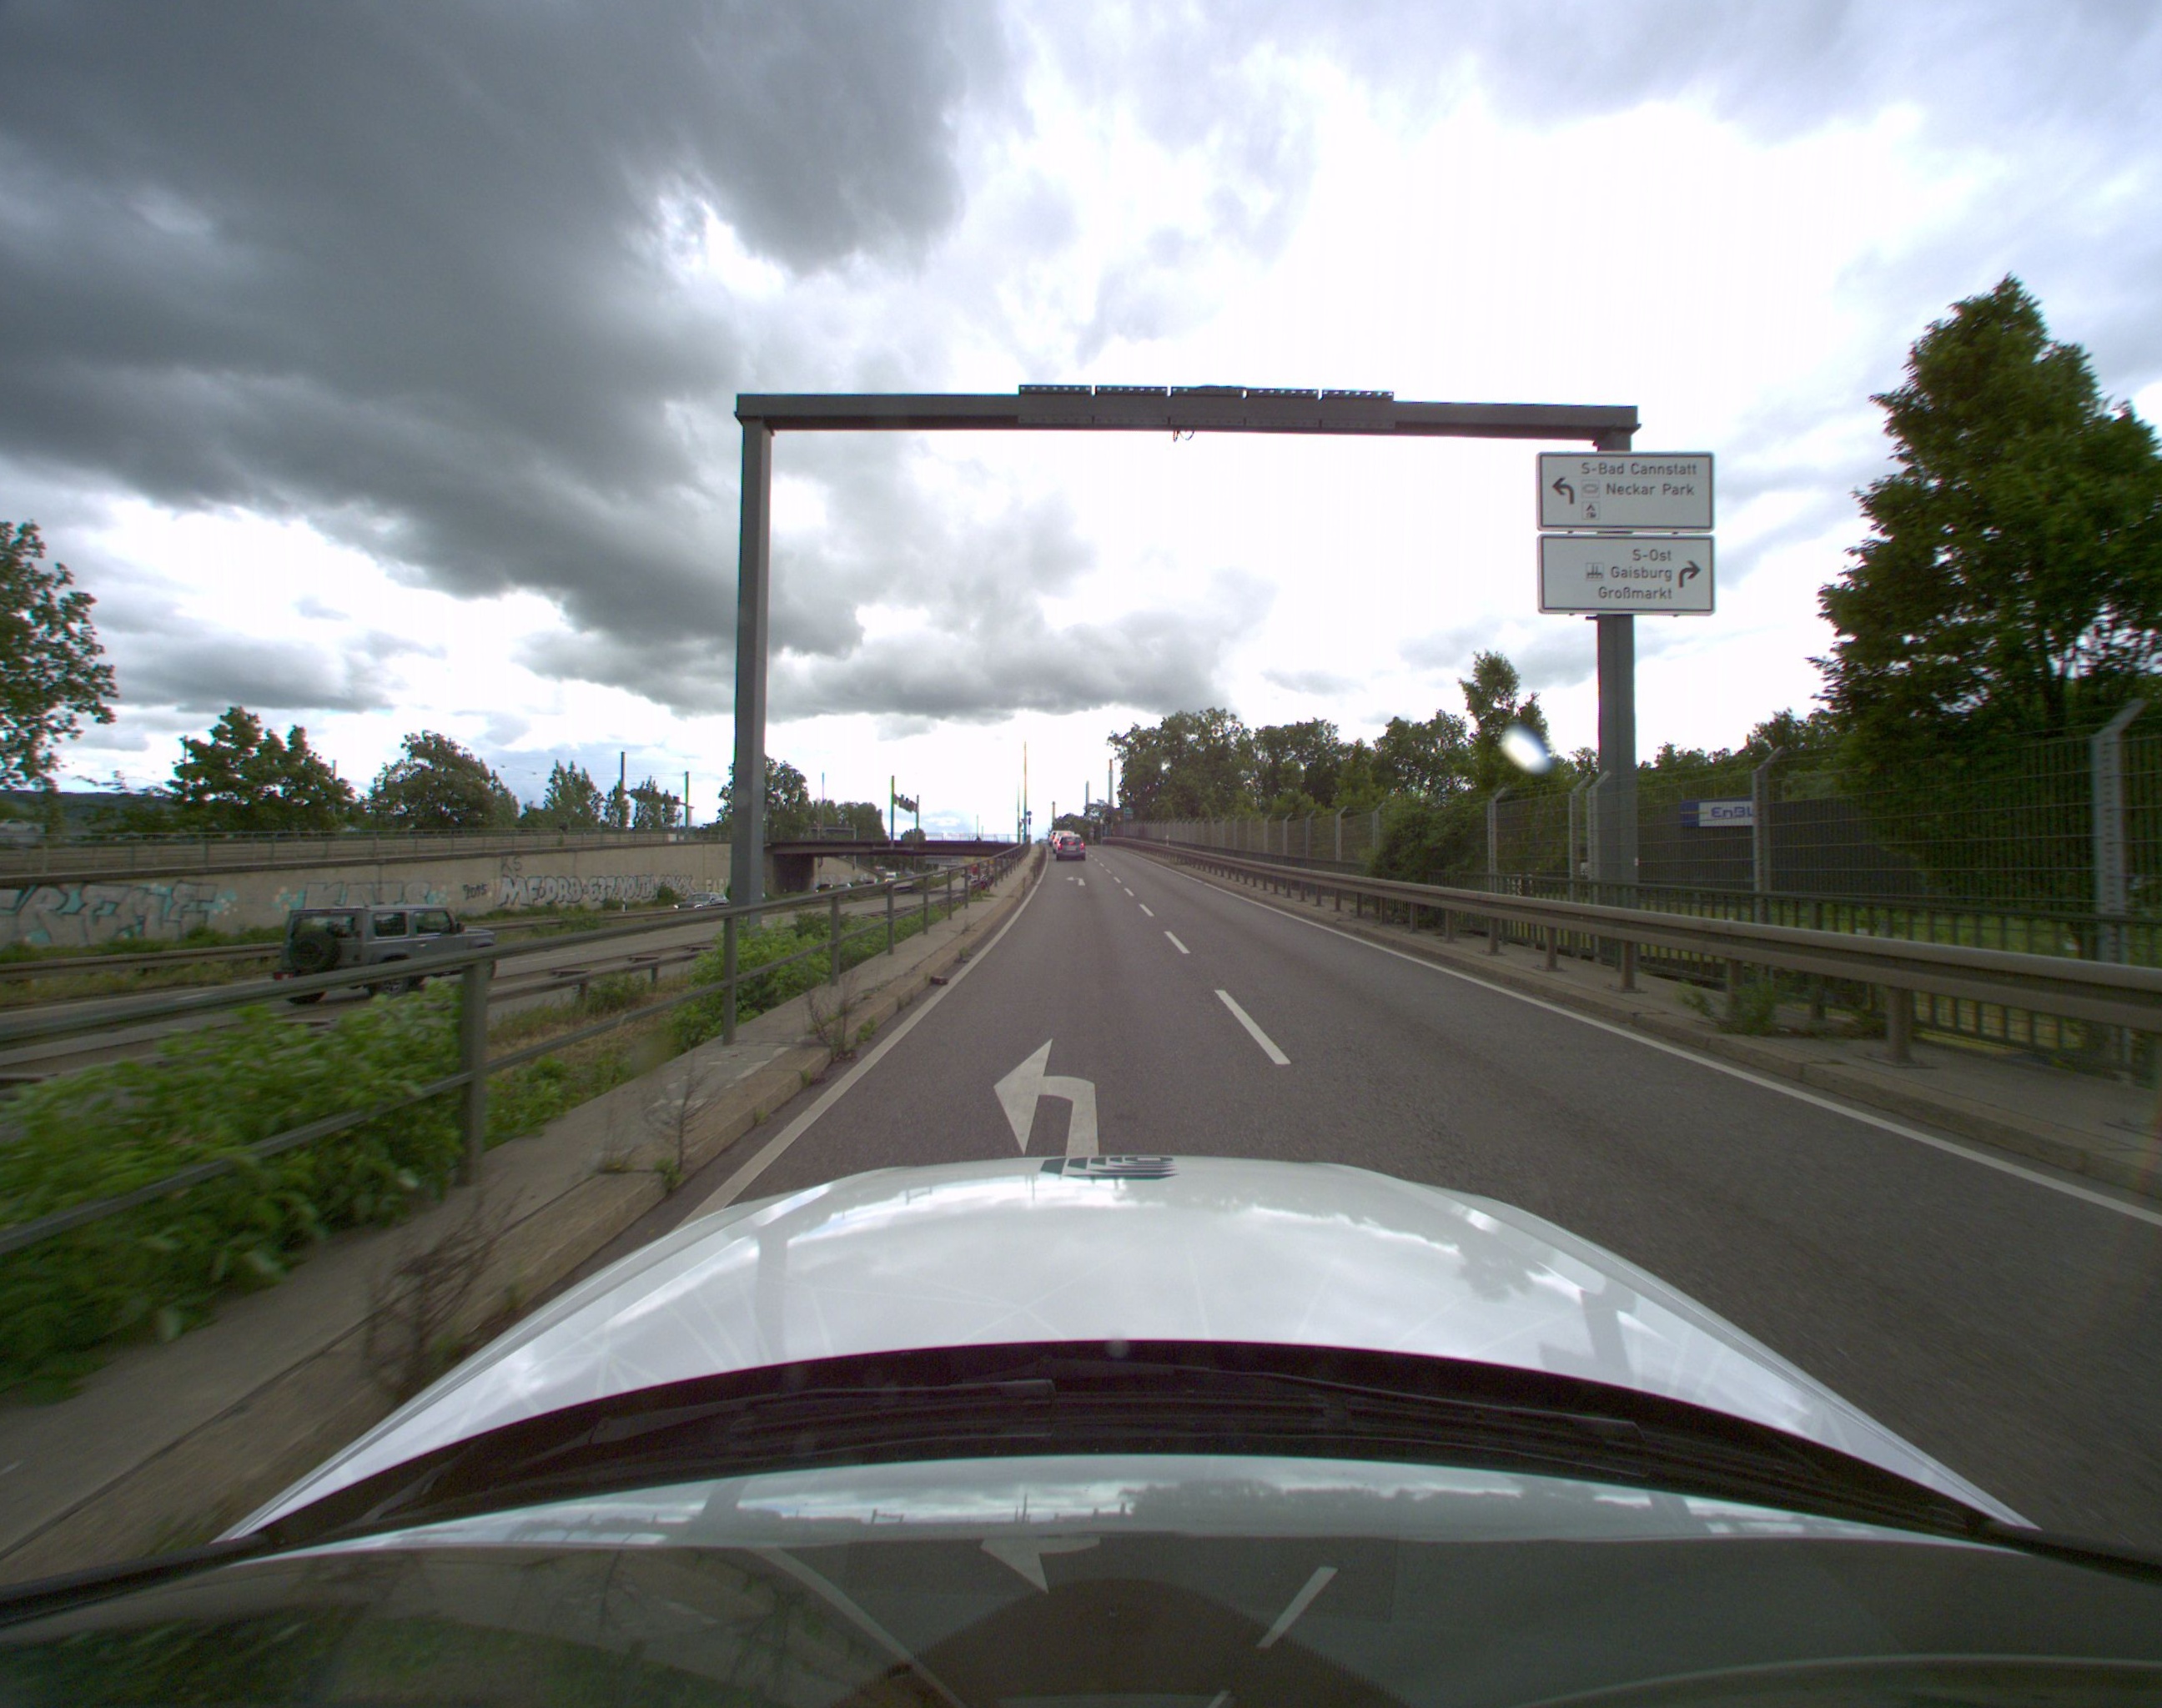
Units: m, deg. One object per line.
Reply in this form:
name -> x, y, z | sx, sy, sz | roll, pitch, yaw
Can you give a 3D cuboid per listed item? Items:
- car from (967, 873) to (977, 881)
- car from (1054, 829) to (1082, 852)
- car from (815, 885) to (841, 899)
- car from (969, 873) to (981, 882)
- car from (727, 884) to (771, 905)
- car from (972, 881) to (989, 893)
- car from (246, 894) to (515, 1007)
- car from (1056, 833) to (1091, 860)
car -> -28.135, 5.954, 211.058 | 1.986, 1.684, 4.001 | 1, 0, 1
car -> -1.020, -1.032, 61.466 | 1.988, 1.602, 3.998 | -1, 3, -2
car -> -31.732, 4.728, 102.217 | 1.990, 1.720, 4.696 | -1, -2, -4
car -> -23.690, 5.262, 182.221 | 1.986, 1.684, 4.001 | 1, 0, 1
car -> -29.641, 3.651, 72.856 | 1.988, 1.693, 4.699 | -1, -4, -1
car -> -12.543, 4.140, 102.235 | 1.991, 1.420, 3.992 | 1, 0, -6
car -> -12.985, 1.689, 15.490 | 1.676, 1.736, 3.996 | -1, -2, -1
car -> -0.414, -0.423, 50.209 | 1.741, 1.581, 4.090 | 1, -1, 5
